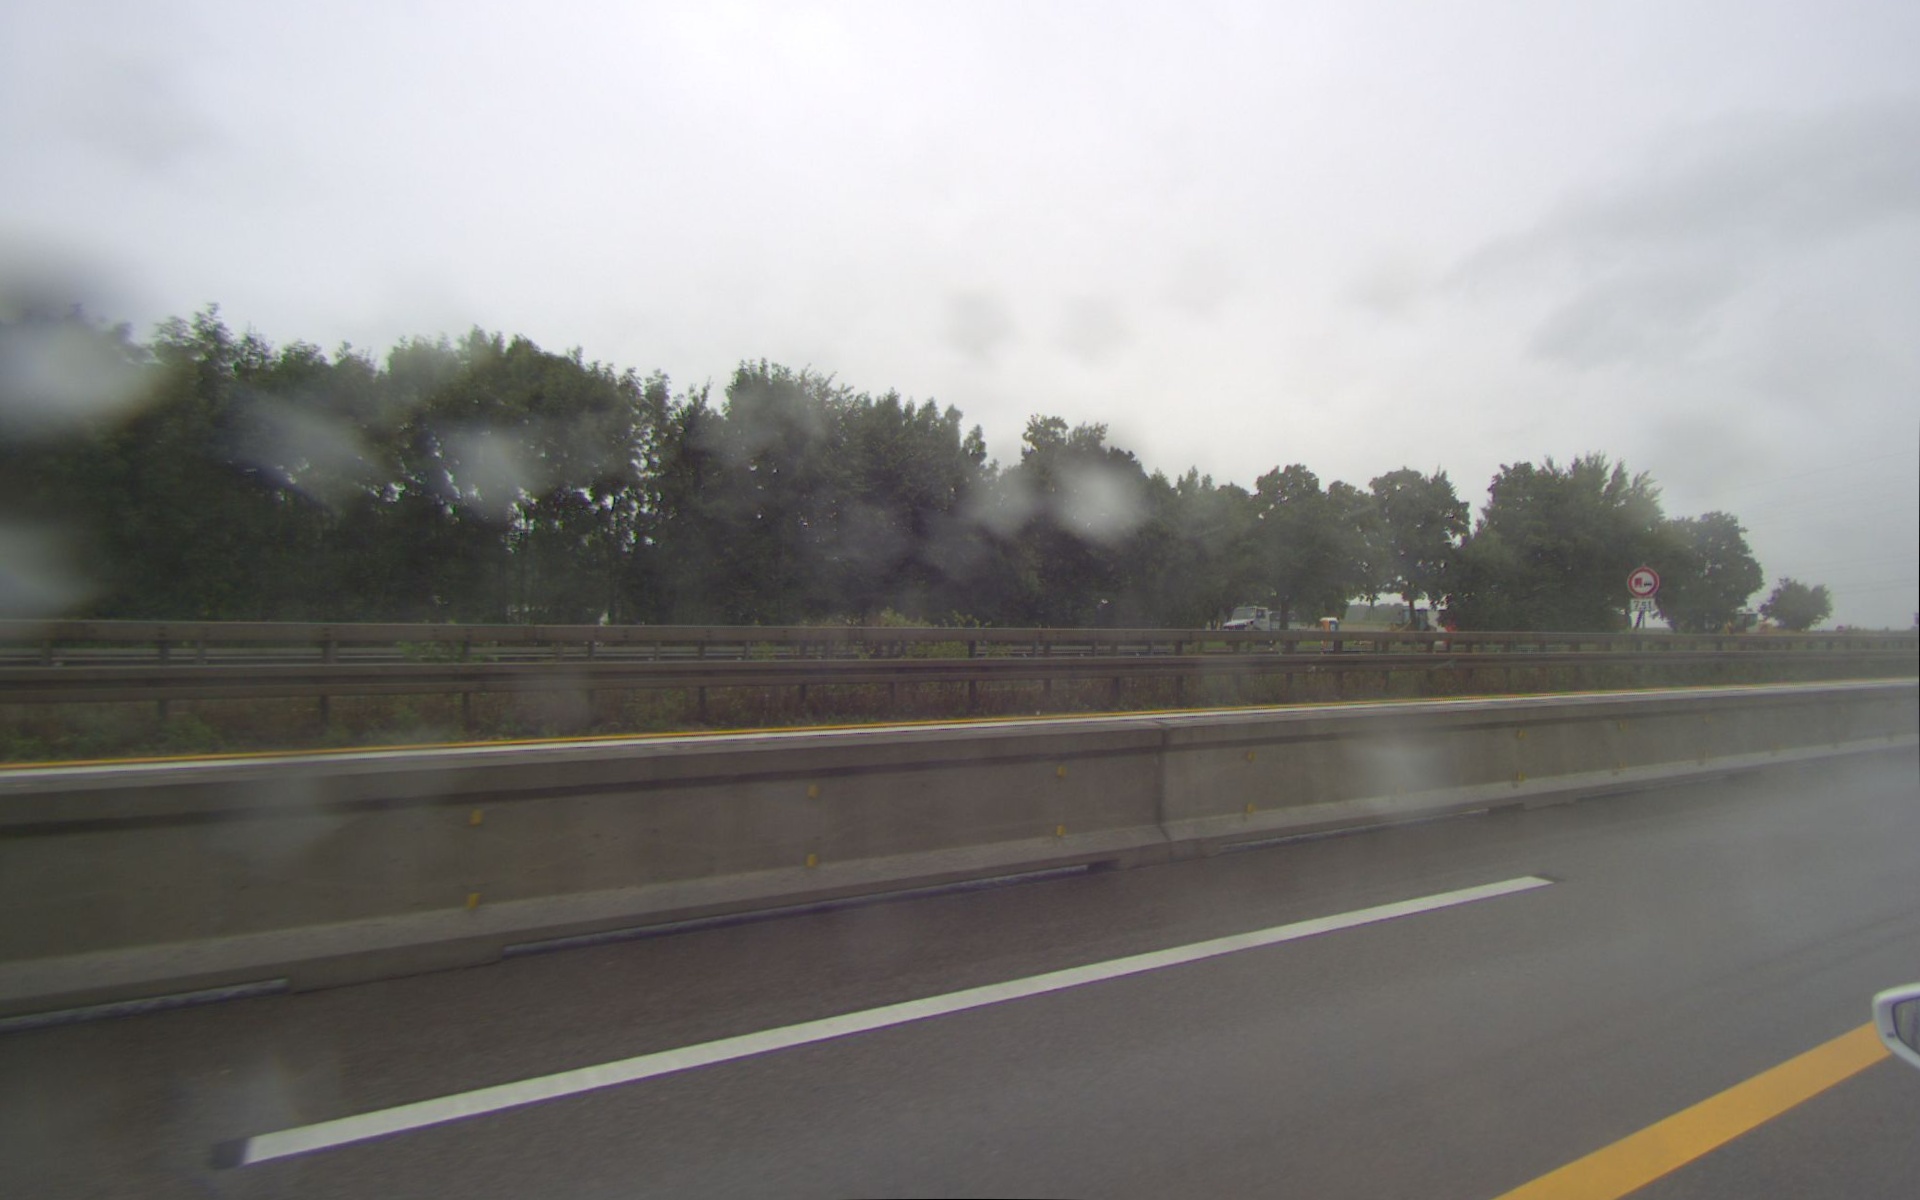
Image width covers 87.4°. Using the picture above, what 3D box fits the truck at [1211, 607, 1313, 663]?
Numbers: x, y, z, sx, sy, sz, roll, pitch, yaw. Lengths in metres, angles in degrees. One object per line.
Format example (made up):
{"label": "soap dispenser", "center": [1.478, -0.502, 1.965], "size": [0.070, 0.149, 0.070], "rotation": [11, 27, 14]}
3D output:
{"label": "truck", "center": [18.604, 2.162, 61.876], "size": [5.793, 3.255, 2.604], "rotation": [3, -1, -27]}
